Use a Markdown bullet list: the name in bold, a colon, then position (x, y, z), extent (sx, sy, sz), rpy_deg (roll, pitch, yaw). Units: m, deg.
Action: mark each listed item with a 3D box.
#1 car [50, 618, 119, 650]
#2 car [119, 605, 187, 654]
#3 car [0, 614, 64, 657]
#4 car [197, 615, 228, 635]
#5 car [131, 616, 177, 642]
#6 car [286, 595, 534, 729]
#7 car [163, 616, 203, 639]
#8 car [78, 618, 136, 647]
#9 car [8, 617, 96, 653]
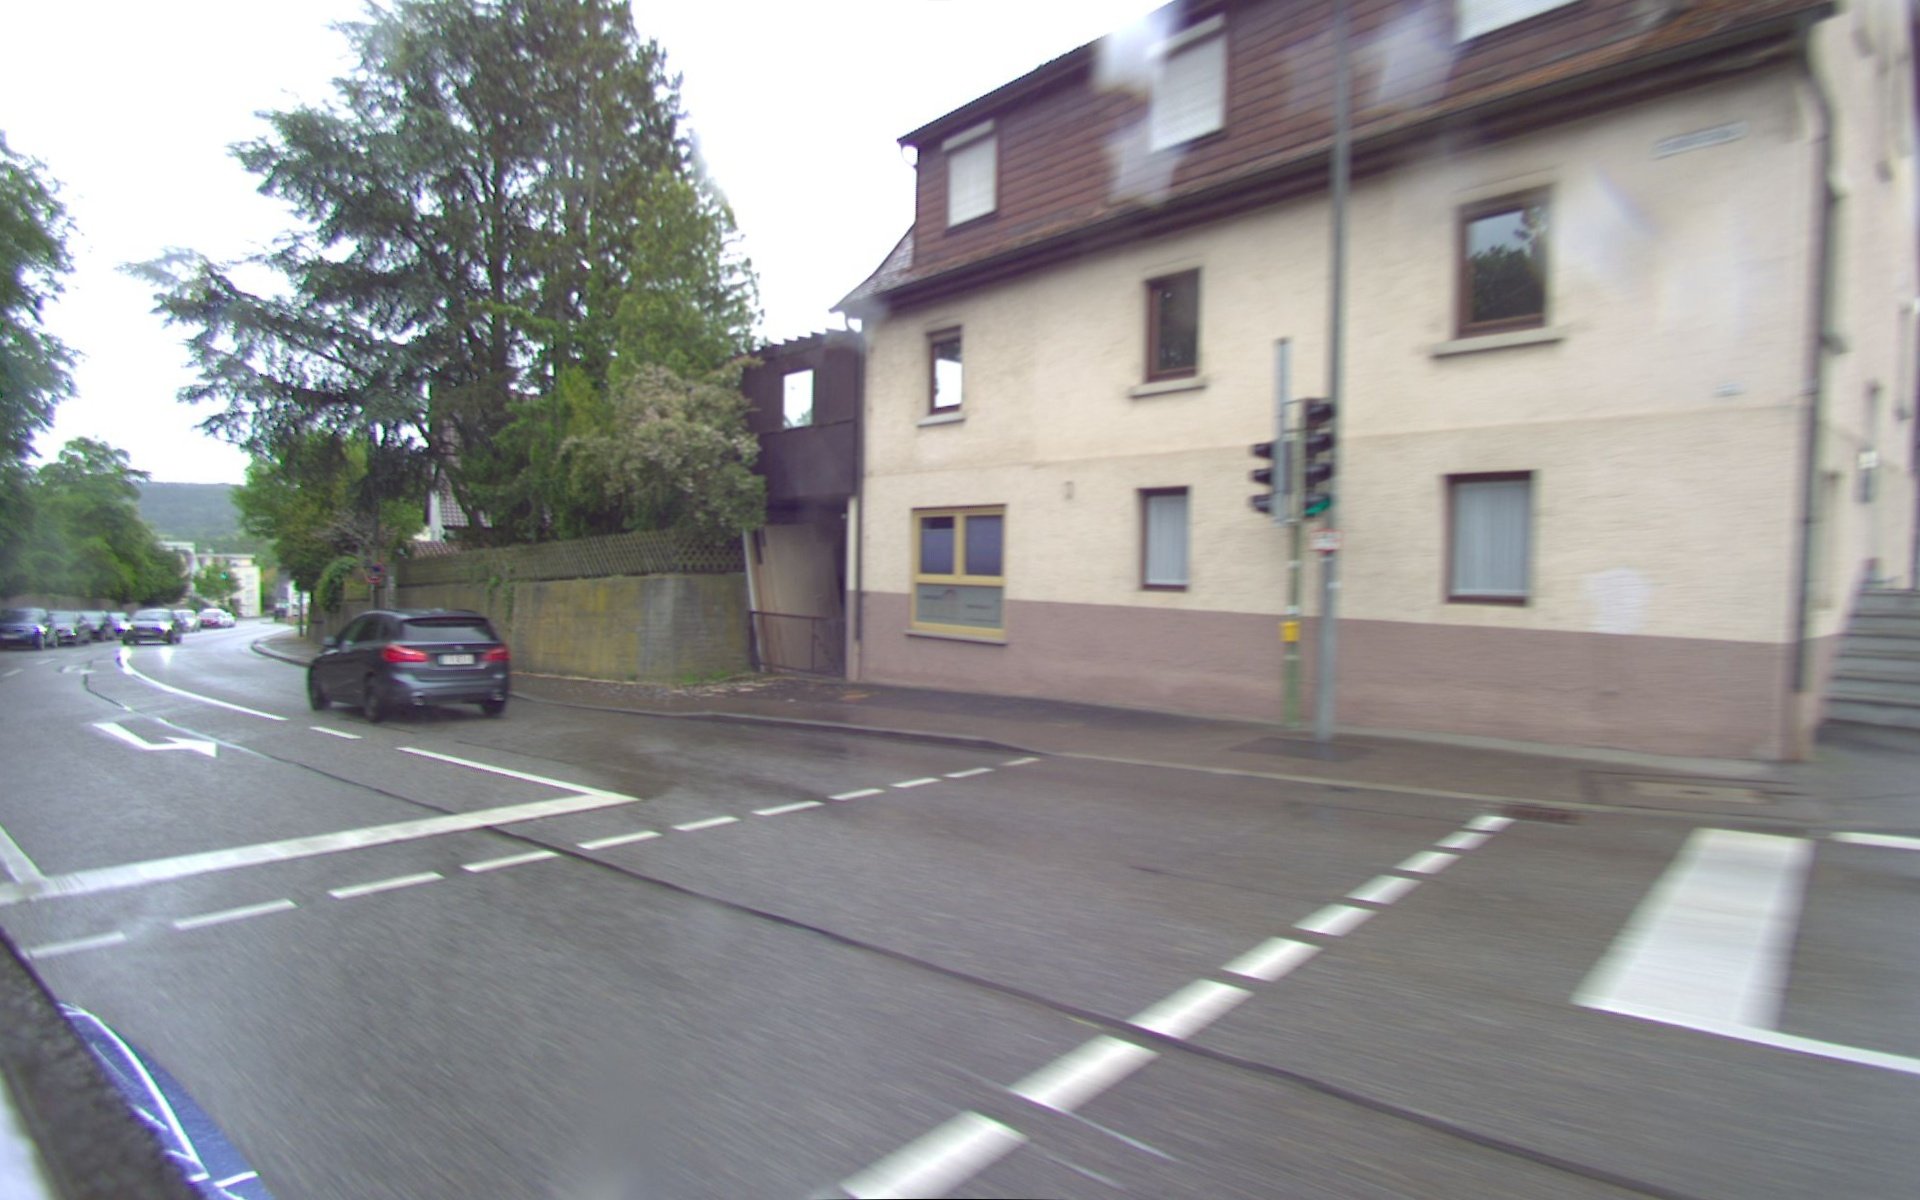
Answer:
- **car**: position (-41.082, 1.585, 47.565), extent (1.735, 1.430, 4.165), rpy_deg (1, -2, -31)
- **car**: position (-35.973, 1.264, 45.189), extent (1.966, 2.029, 4.011), rpy_deg (0, 0, -33)
- **car**: position (-35.030, 1.299, 37.777), extent (1.765, 1.544, 3.811), rpy_deg (1, -2, -32)
- **car**: position (-69.190, 2.324, 93.670), extent (1.917, 1.807, 4.198), rpy_deg (1, -1, -31)
- **car**: position (-51.099, 1.830, 64.252), extent (1.804, 1.642, 4.165), rpy_deg (1, -2, -32)
- **car**: position (-8.262, 0.836, 15.089), extent (3.997, 1.719, 1.973), rpy_deg (-1, -1, 41)
- **car**: position (-57.614, 2.050, 75.136), extent (1.803, 1.642, 4.166), rpy_deg (1, -2, -30)
- **car**: position (-43.877, 1.667, 52.128), extent (1.735, 1.430, 4.164), rpy_deg (1, -2, -33)
- **car**: position (-38.121, 1.468, 42.594), extent (1.966, 1.430, 4.497), rpy_deg (1, -2, -32)
